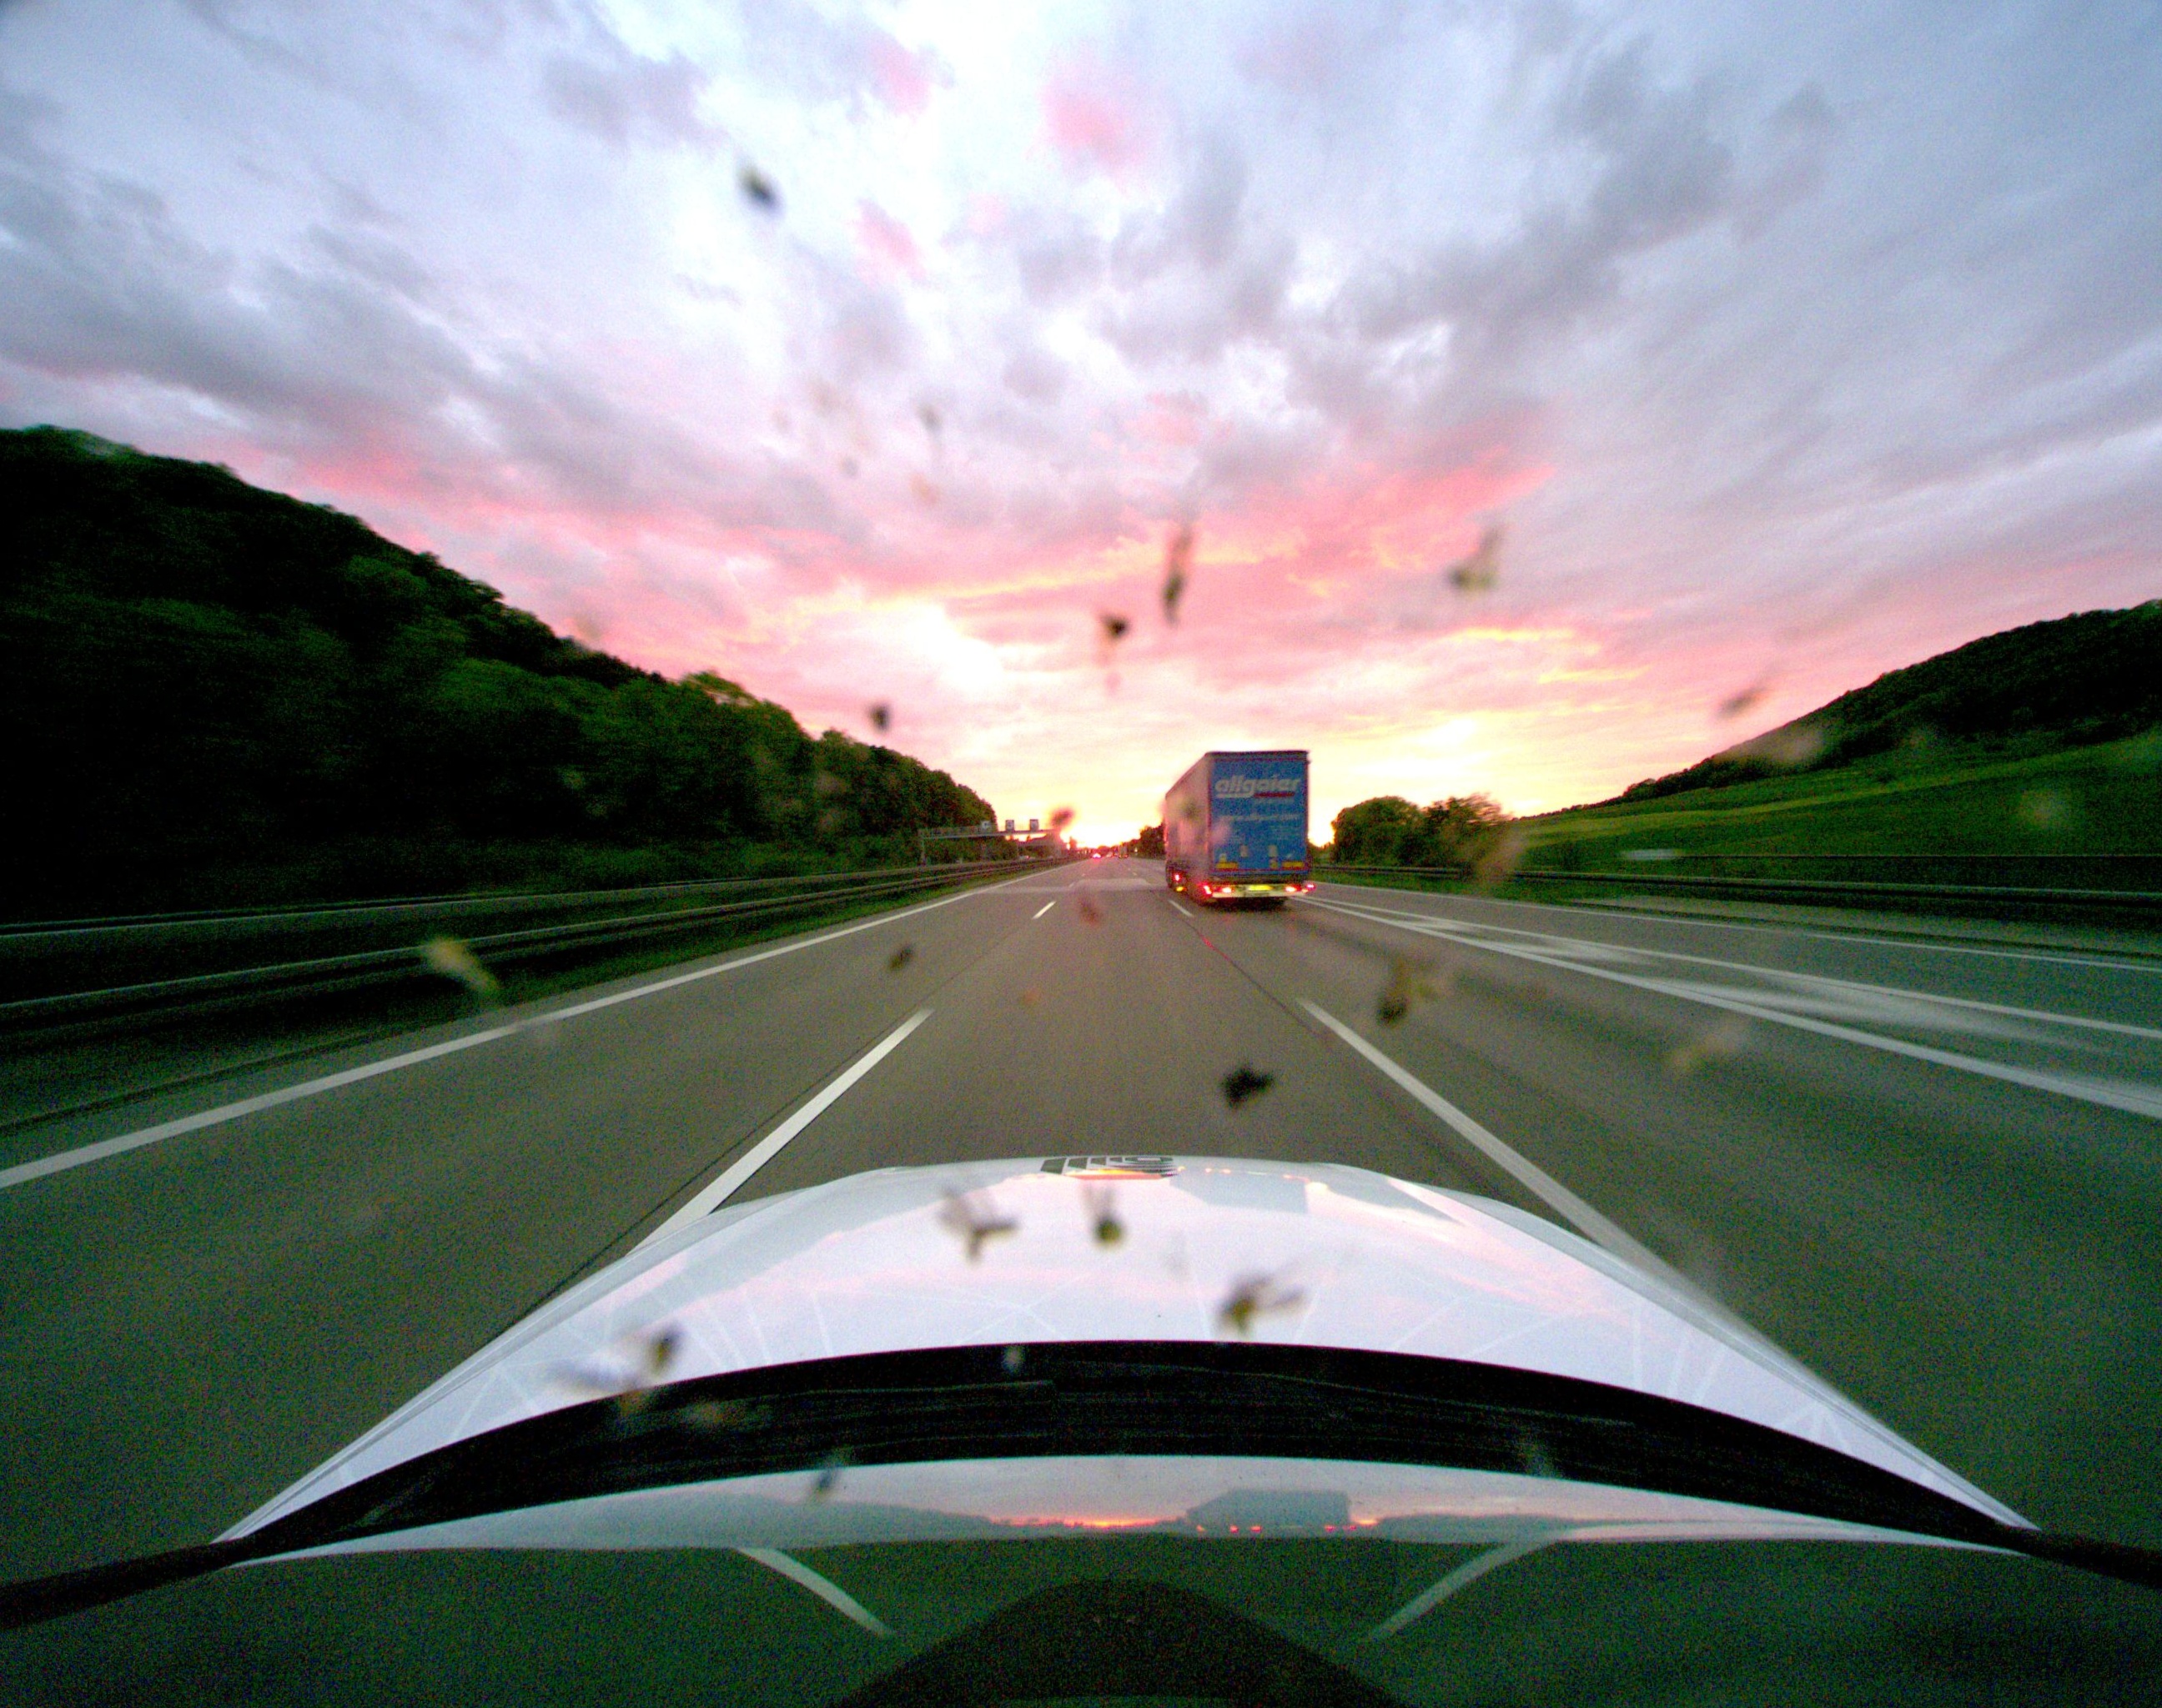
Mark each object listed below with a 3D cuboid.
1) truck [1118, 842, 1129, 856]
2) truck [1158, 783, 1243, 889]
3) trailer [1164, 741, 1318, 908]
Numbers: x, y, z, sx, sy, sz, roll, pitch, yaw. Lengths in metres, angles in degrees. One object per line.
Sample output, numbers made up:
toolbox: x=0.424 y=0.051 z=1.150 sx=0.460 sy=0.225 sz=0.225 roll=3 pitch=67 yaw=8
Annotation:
truck: x=13.254 y=-1.523 z=255.674 sx=3.231 sy=4.127 sz=9.793 roll=-2 pitch=0 yaw=3
truck: x=4.803 y=-0.666 z=33.714 sx=2.727 sy=3.996 sz=5.850 roll=-1 pitch=0 yaw=1
trailer: x=4.637 y=-0.710 z=26.957 sx=2.761 sy=4.086 sz=13.744 roll=-1 pitch=0 yaw=2
